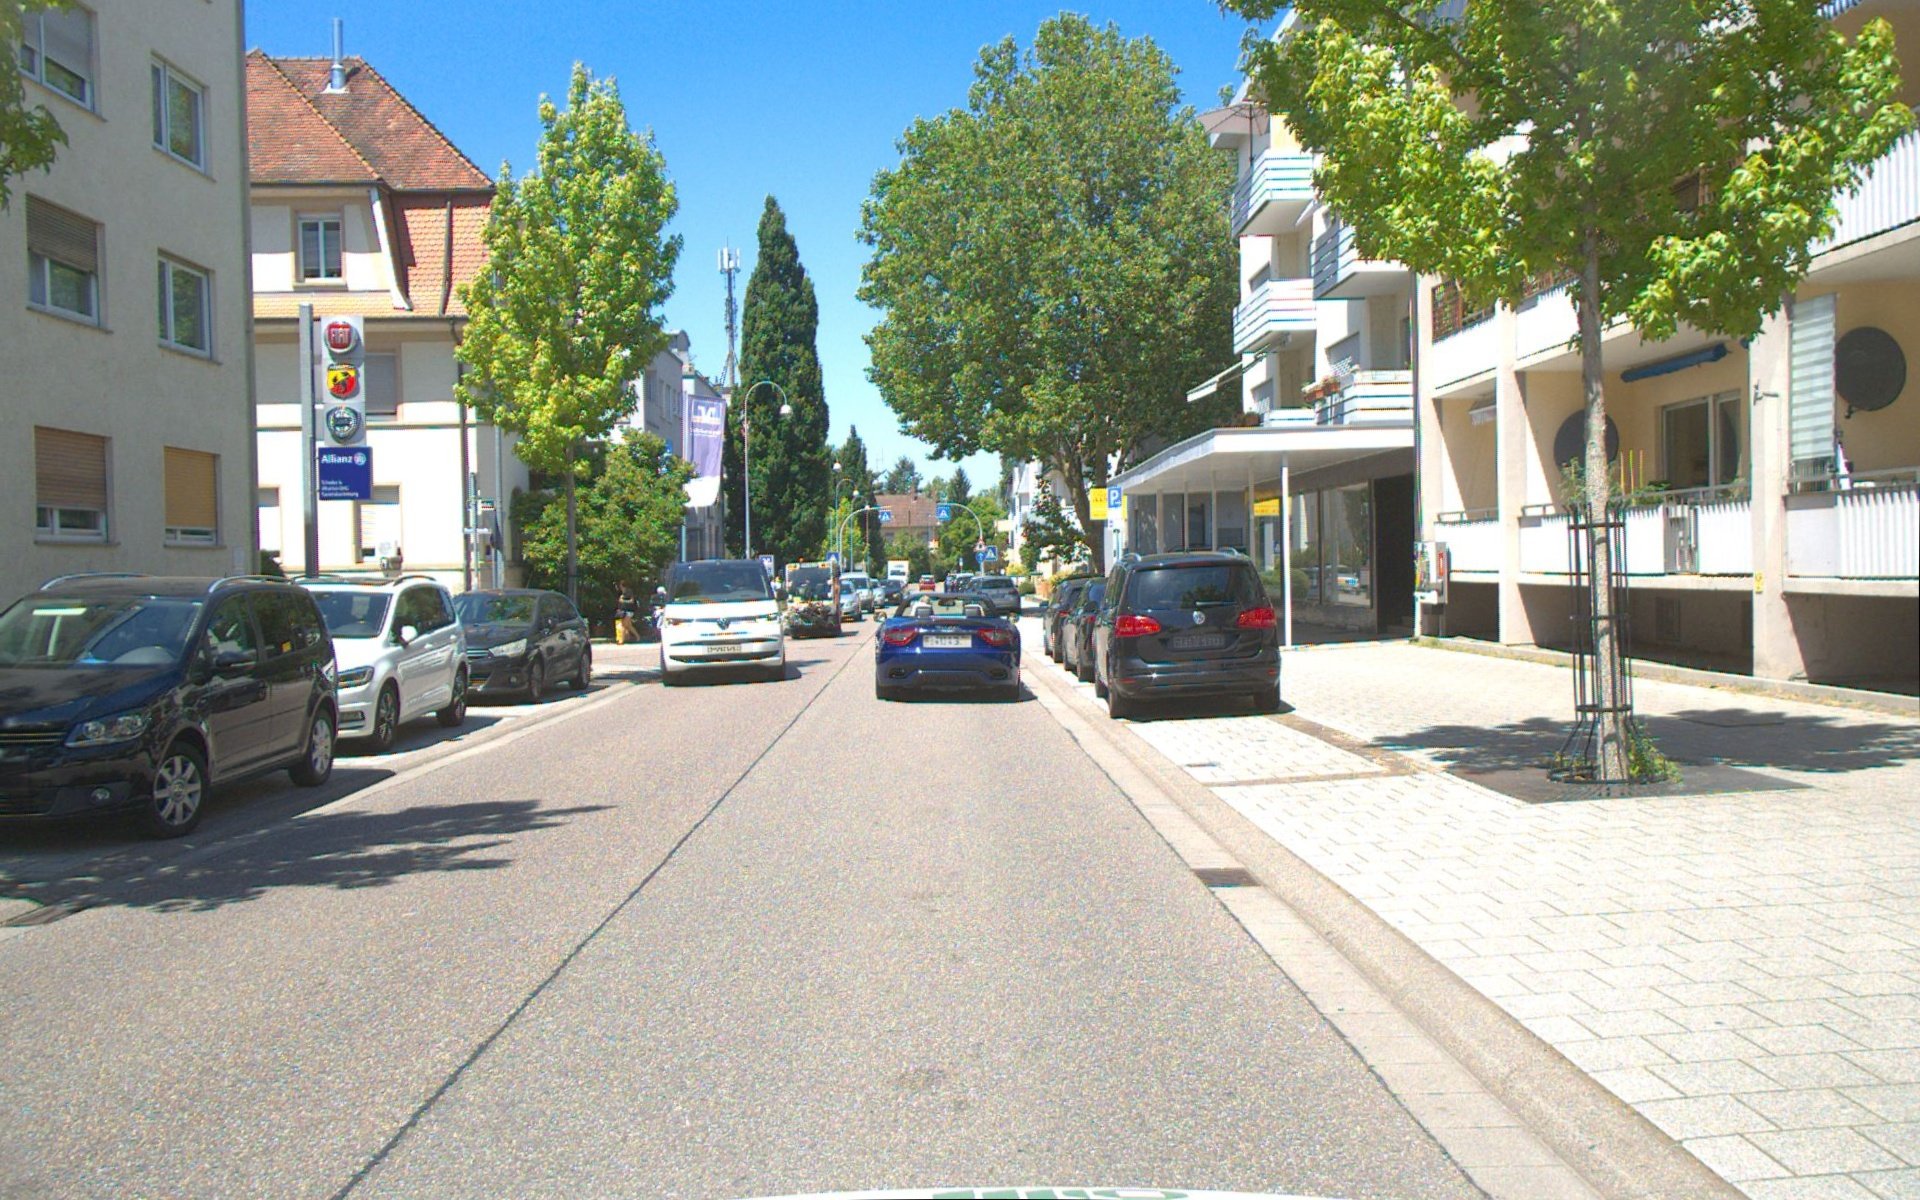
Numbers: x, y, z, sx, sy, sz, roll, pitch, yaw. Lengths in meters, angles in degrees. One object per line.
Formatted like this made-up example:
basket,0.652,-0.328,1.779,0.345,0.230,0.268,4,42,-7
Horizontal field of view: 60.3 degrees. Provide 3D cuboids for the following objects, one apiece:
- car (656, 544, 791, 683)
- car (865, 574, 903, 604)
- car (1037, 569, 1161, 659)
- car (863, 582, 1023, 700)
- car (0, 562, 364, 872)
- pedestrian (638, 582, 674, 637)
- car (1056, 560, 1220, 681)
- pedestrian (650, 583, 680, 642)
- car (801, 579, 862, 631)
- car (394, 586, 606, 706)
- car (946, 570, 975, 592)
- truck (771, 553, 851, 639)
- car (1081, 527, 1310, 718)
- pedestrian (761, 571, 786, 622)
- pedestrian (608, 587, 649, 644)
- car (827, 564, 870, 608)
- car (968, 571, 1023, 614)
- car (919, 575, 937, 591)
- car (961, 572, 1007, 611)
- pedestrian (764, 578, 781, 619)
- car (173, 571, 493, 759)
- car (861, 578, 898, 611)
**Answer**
car,-3.759,0.172,26.913,1.870,1.956,4.899,-3,1,-6
car,-4.124,-0.626,90.290,1.911,1.501,4.136,-3,1,-2
car,2.493,0.223,30.599,1.807,1.439,4.162,-3,1,-1
car,-0.301,0.477,22.436,1.936,1.422,4.625,1,1,-2
car,-5.800,0.632,11.749,1.694,1.771,4.391,1,1,-3
pedestrian,-7.904,0.239,43.018,0.593,1.394,0.684,-6,4,-43
car,2.575,0.266,24.965,1.856,1.556,4.568,-3,0,-1
pedestrian,-7.412,0.316,41.509,0.586,1.394,0.692,-4,3,-15
car,-4.641,0.143,60.344,1.910,1.534,4.797,-3,3,-1
car,-6.359,0.568,23.368,1.718,1.499,4.322,0,1,1
car,0.030,-1.395,122.422,1.911,1.501,4.136,-3,1,-2
truck,-4.042,-0.168,45.528,1.768,2.154,4.714,-3,1,-1
car,2.555,0.127,19.032,1.953,1.829,4.570,-3,2,1
pedestrian,-7.475,-0.135,66.385,0.832,1.948,0.761,-3,3,-1
pedestrian,-8.435,0.388,42.100,0.765,1.394,0.542,-7,4,-42
car,-4.910,-0.651,73.411,1.734,1.798,4.136,-3,2,-2
car,1.359,-0.318,65.507,1.936,1.475,4.349,-4,2,-1
car,-3.264,-1.724,166.504,1.734,1.502,4.136,-1,0,-2
car,1.079,-0.410,77.748,1.936,1.583,4.349,-3,2,-1
pedestrian,-7.530,-0.065,66.334,0.575,1.602,0.781,-2,1,-2
car,-6.289,0.549,17.163,1.787,1.647,4.391,0,1,-3
car,-4.078,-0.288,84.398,1.734,1.501,4.136,-3,1,-2
